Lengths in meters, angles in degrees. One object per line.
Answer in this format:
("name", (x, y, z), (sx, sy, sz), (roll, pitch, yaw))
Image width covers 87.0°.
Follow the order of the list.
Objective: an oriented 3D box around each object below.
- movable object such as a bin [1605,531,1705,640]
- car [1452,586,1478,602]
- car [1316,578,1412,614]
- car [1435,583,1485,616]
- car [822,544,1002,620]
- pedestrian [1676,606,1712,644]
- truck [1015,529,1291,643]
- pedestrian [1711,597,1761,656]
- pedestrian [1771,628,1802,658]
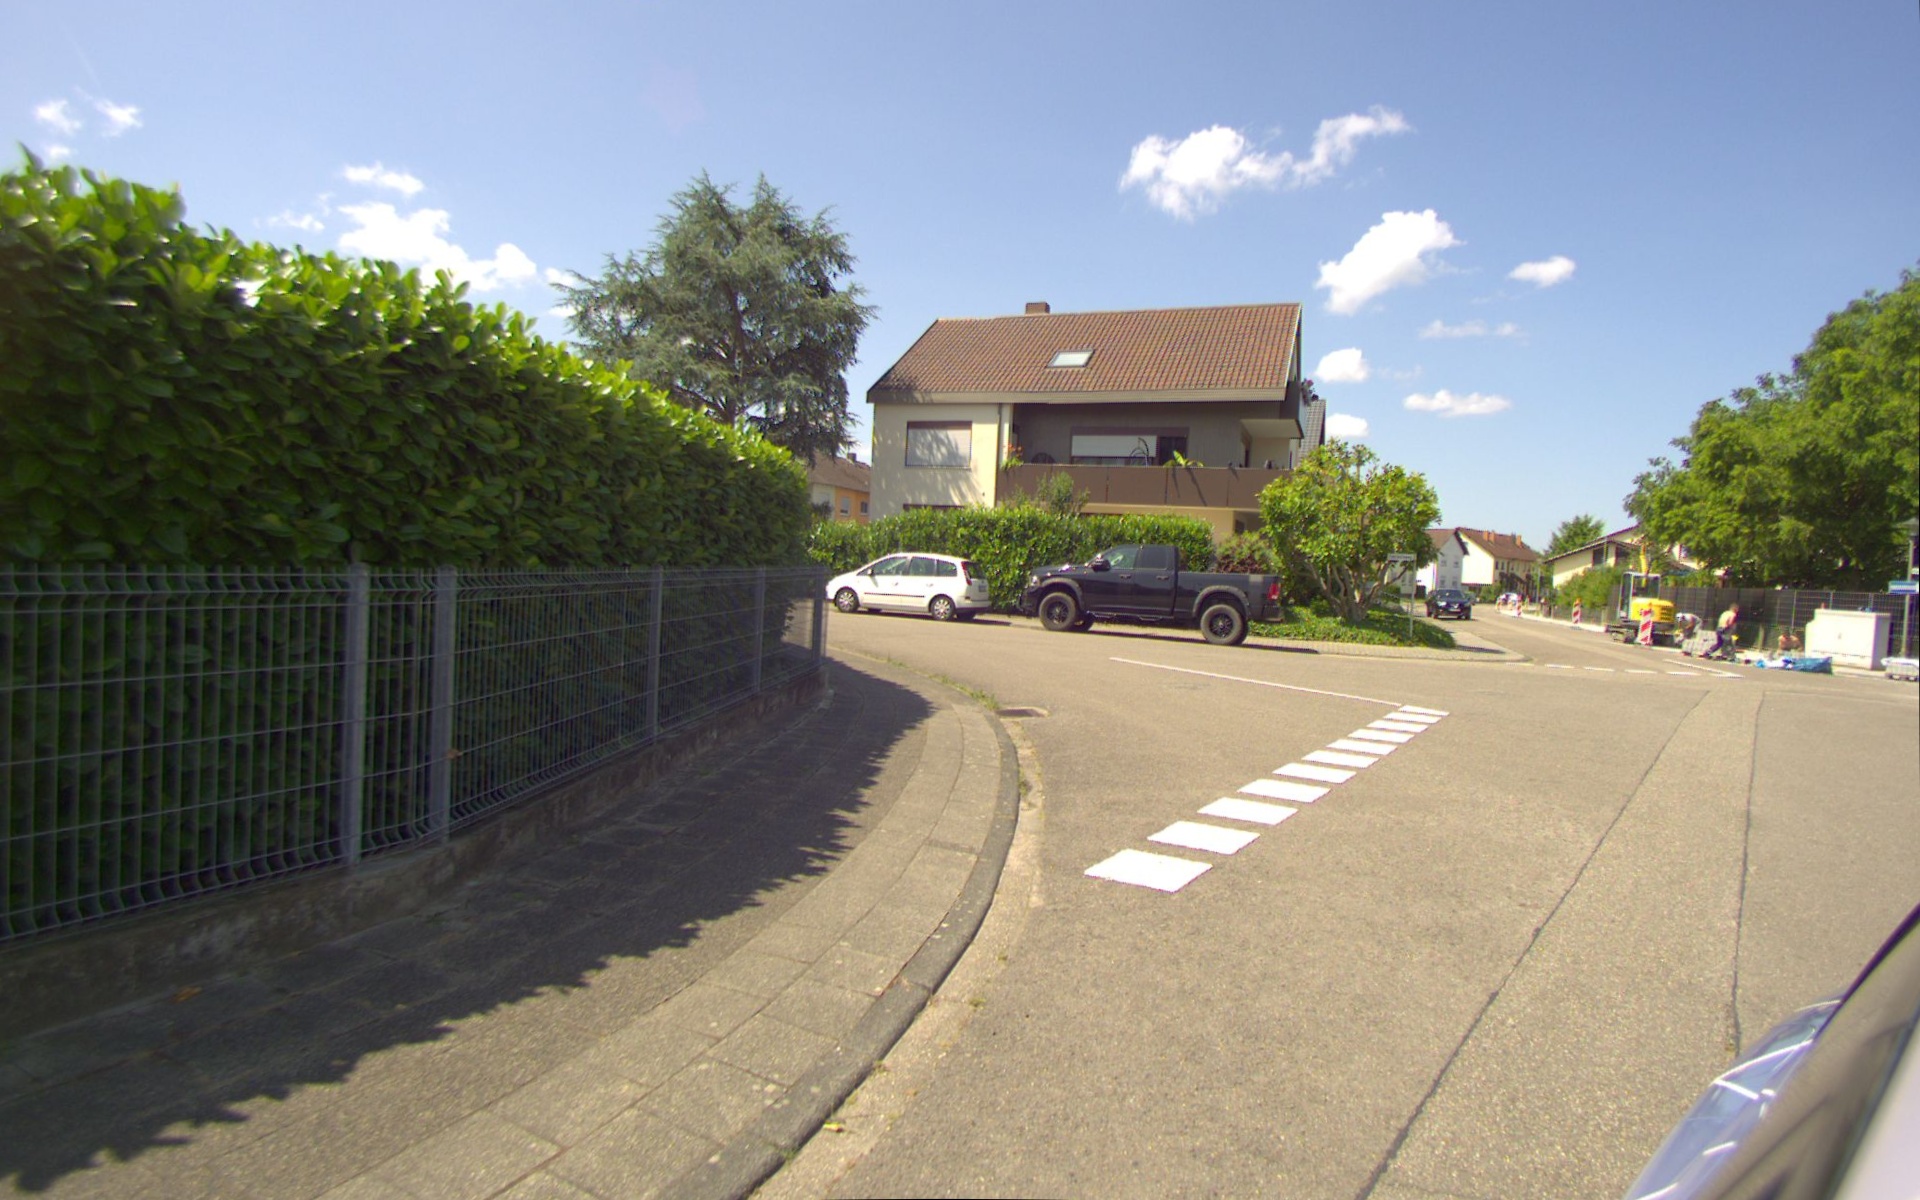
("movable object such as a bin", (24.688, -0.546, 36.089), (1.978, 3.608, 3.786), (4, 2, 23))
("car", (57.116, -0.730, 114.482), (1.989, 1.670, 3.948), (5, 3, 36))
("car", (18.500, -0.233, 46.470), (3.953, 1.358, 1.986), (4, 2, 21))
("car", (26.378, -0.071, 53.531), (1.897, 1.560, 3.973), (4, 3, 21))
("car", (-1.192, -0.487, 25.299), (4.094, 1.582, 1.791), (4, 2, 21))
("pedestrian", (23.792, 0.818, 32.804), (0.808, 1.183, 0.513), (2, 2, -19))
("truck", (4.313, -0.304, 22.500), (5.643, 2.039, 2.354), (4, -3, 20))
("pedestrian", (20.861, 0.702, 27.226), (0.837, 1.532, 0.531), (3, 2, 11))
("pedestrian", (23.241, 1.203, 28.455), (0.511, 0.803, 0.433), (2, 2, -20))
